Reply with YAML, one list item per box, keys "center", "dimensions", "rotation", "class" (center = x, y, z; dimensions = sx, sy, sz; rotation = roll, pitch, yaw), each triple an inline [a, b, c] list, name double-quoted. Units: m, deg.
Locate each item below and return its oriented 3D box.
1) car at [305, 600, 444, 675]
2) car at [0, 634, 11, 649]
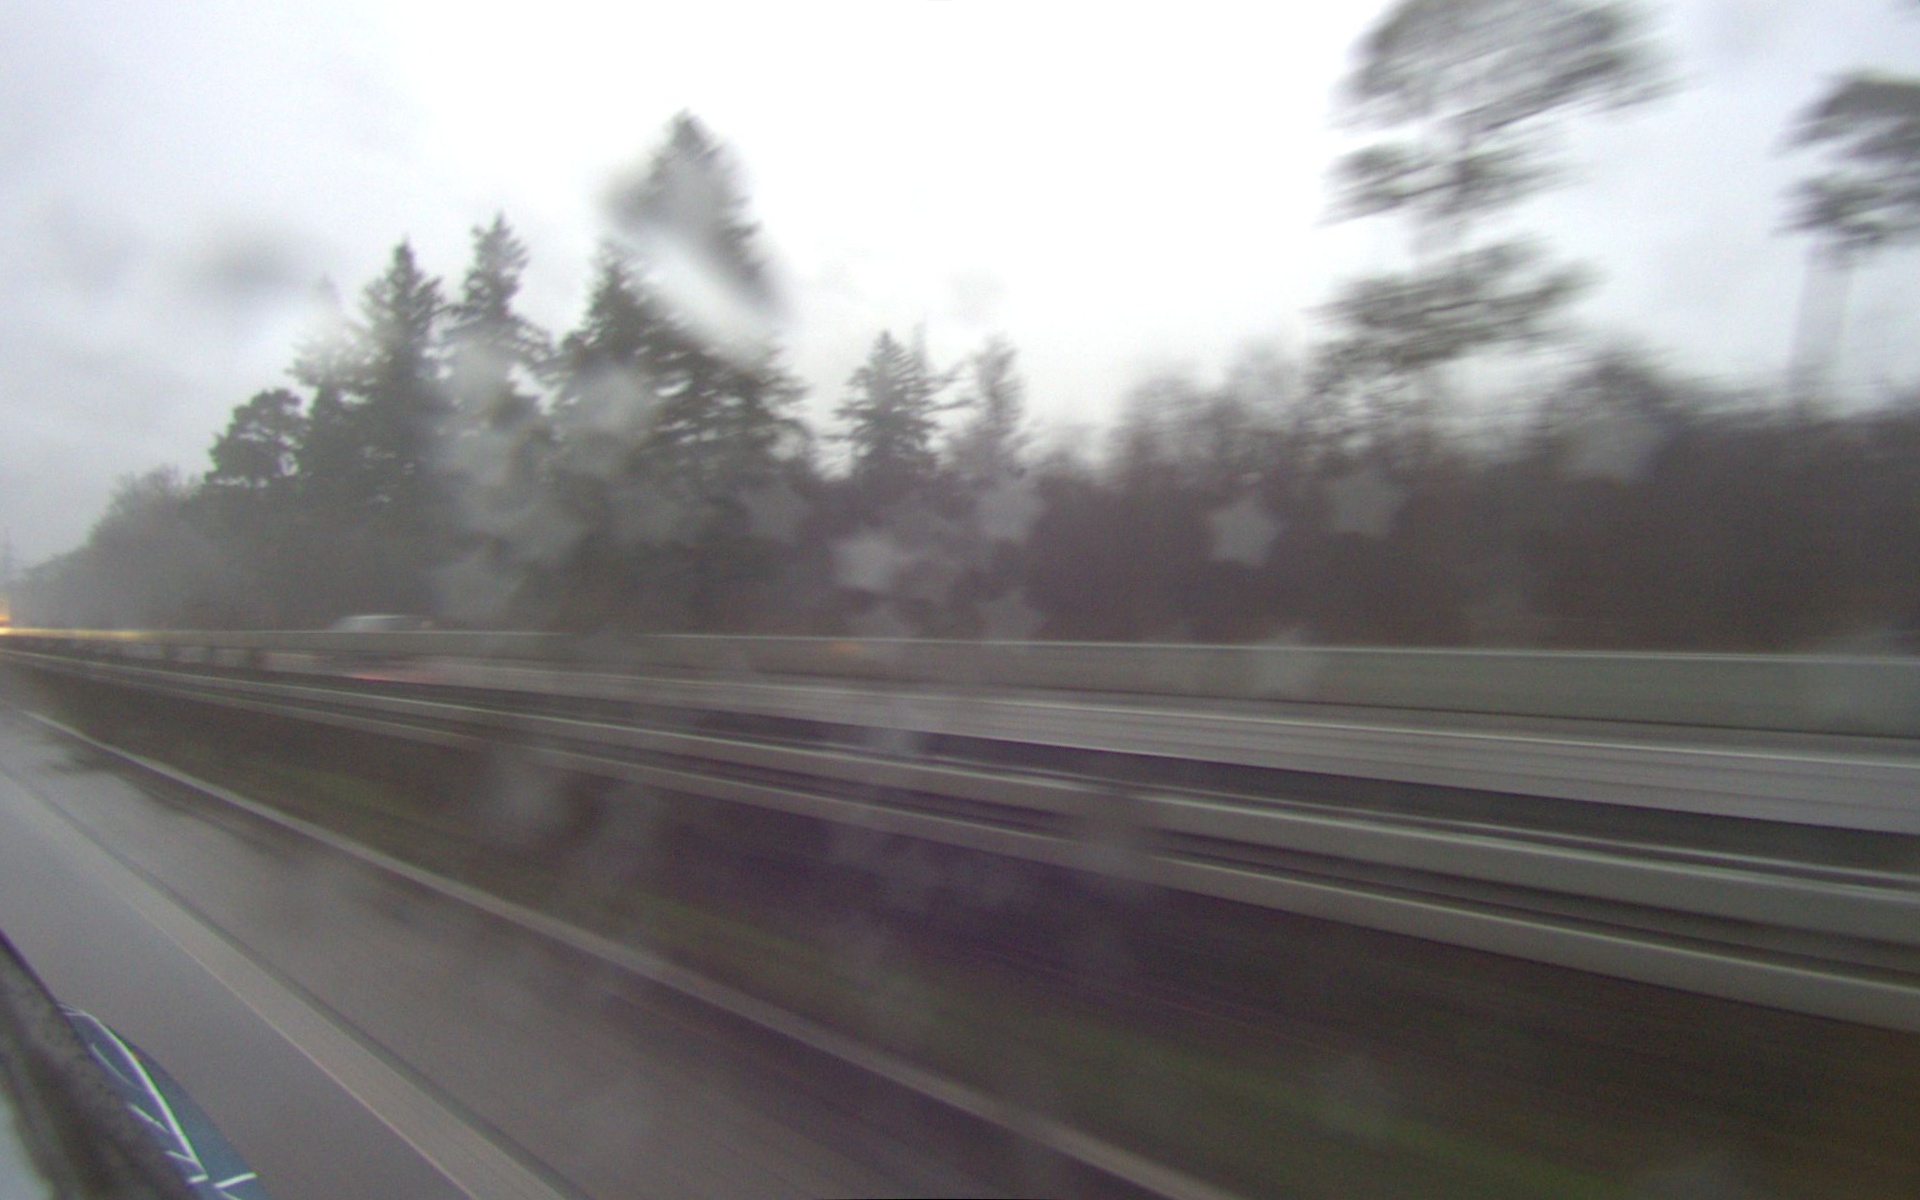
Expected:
- center: [-17.202, 1.058, 29.649]
  dimensions: [4.780, 2.029, 1.974]
  rotation: [-1, -1, 39]
  class: "car"
- center: [-95.272, 4.106, 100.025]
  dimensions: [3.979, 1.400, 1.658]
  rotation: [-2, -1, 40]
  class: "car"
